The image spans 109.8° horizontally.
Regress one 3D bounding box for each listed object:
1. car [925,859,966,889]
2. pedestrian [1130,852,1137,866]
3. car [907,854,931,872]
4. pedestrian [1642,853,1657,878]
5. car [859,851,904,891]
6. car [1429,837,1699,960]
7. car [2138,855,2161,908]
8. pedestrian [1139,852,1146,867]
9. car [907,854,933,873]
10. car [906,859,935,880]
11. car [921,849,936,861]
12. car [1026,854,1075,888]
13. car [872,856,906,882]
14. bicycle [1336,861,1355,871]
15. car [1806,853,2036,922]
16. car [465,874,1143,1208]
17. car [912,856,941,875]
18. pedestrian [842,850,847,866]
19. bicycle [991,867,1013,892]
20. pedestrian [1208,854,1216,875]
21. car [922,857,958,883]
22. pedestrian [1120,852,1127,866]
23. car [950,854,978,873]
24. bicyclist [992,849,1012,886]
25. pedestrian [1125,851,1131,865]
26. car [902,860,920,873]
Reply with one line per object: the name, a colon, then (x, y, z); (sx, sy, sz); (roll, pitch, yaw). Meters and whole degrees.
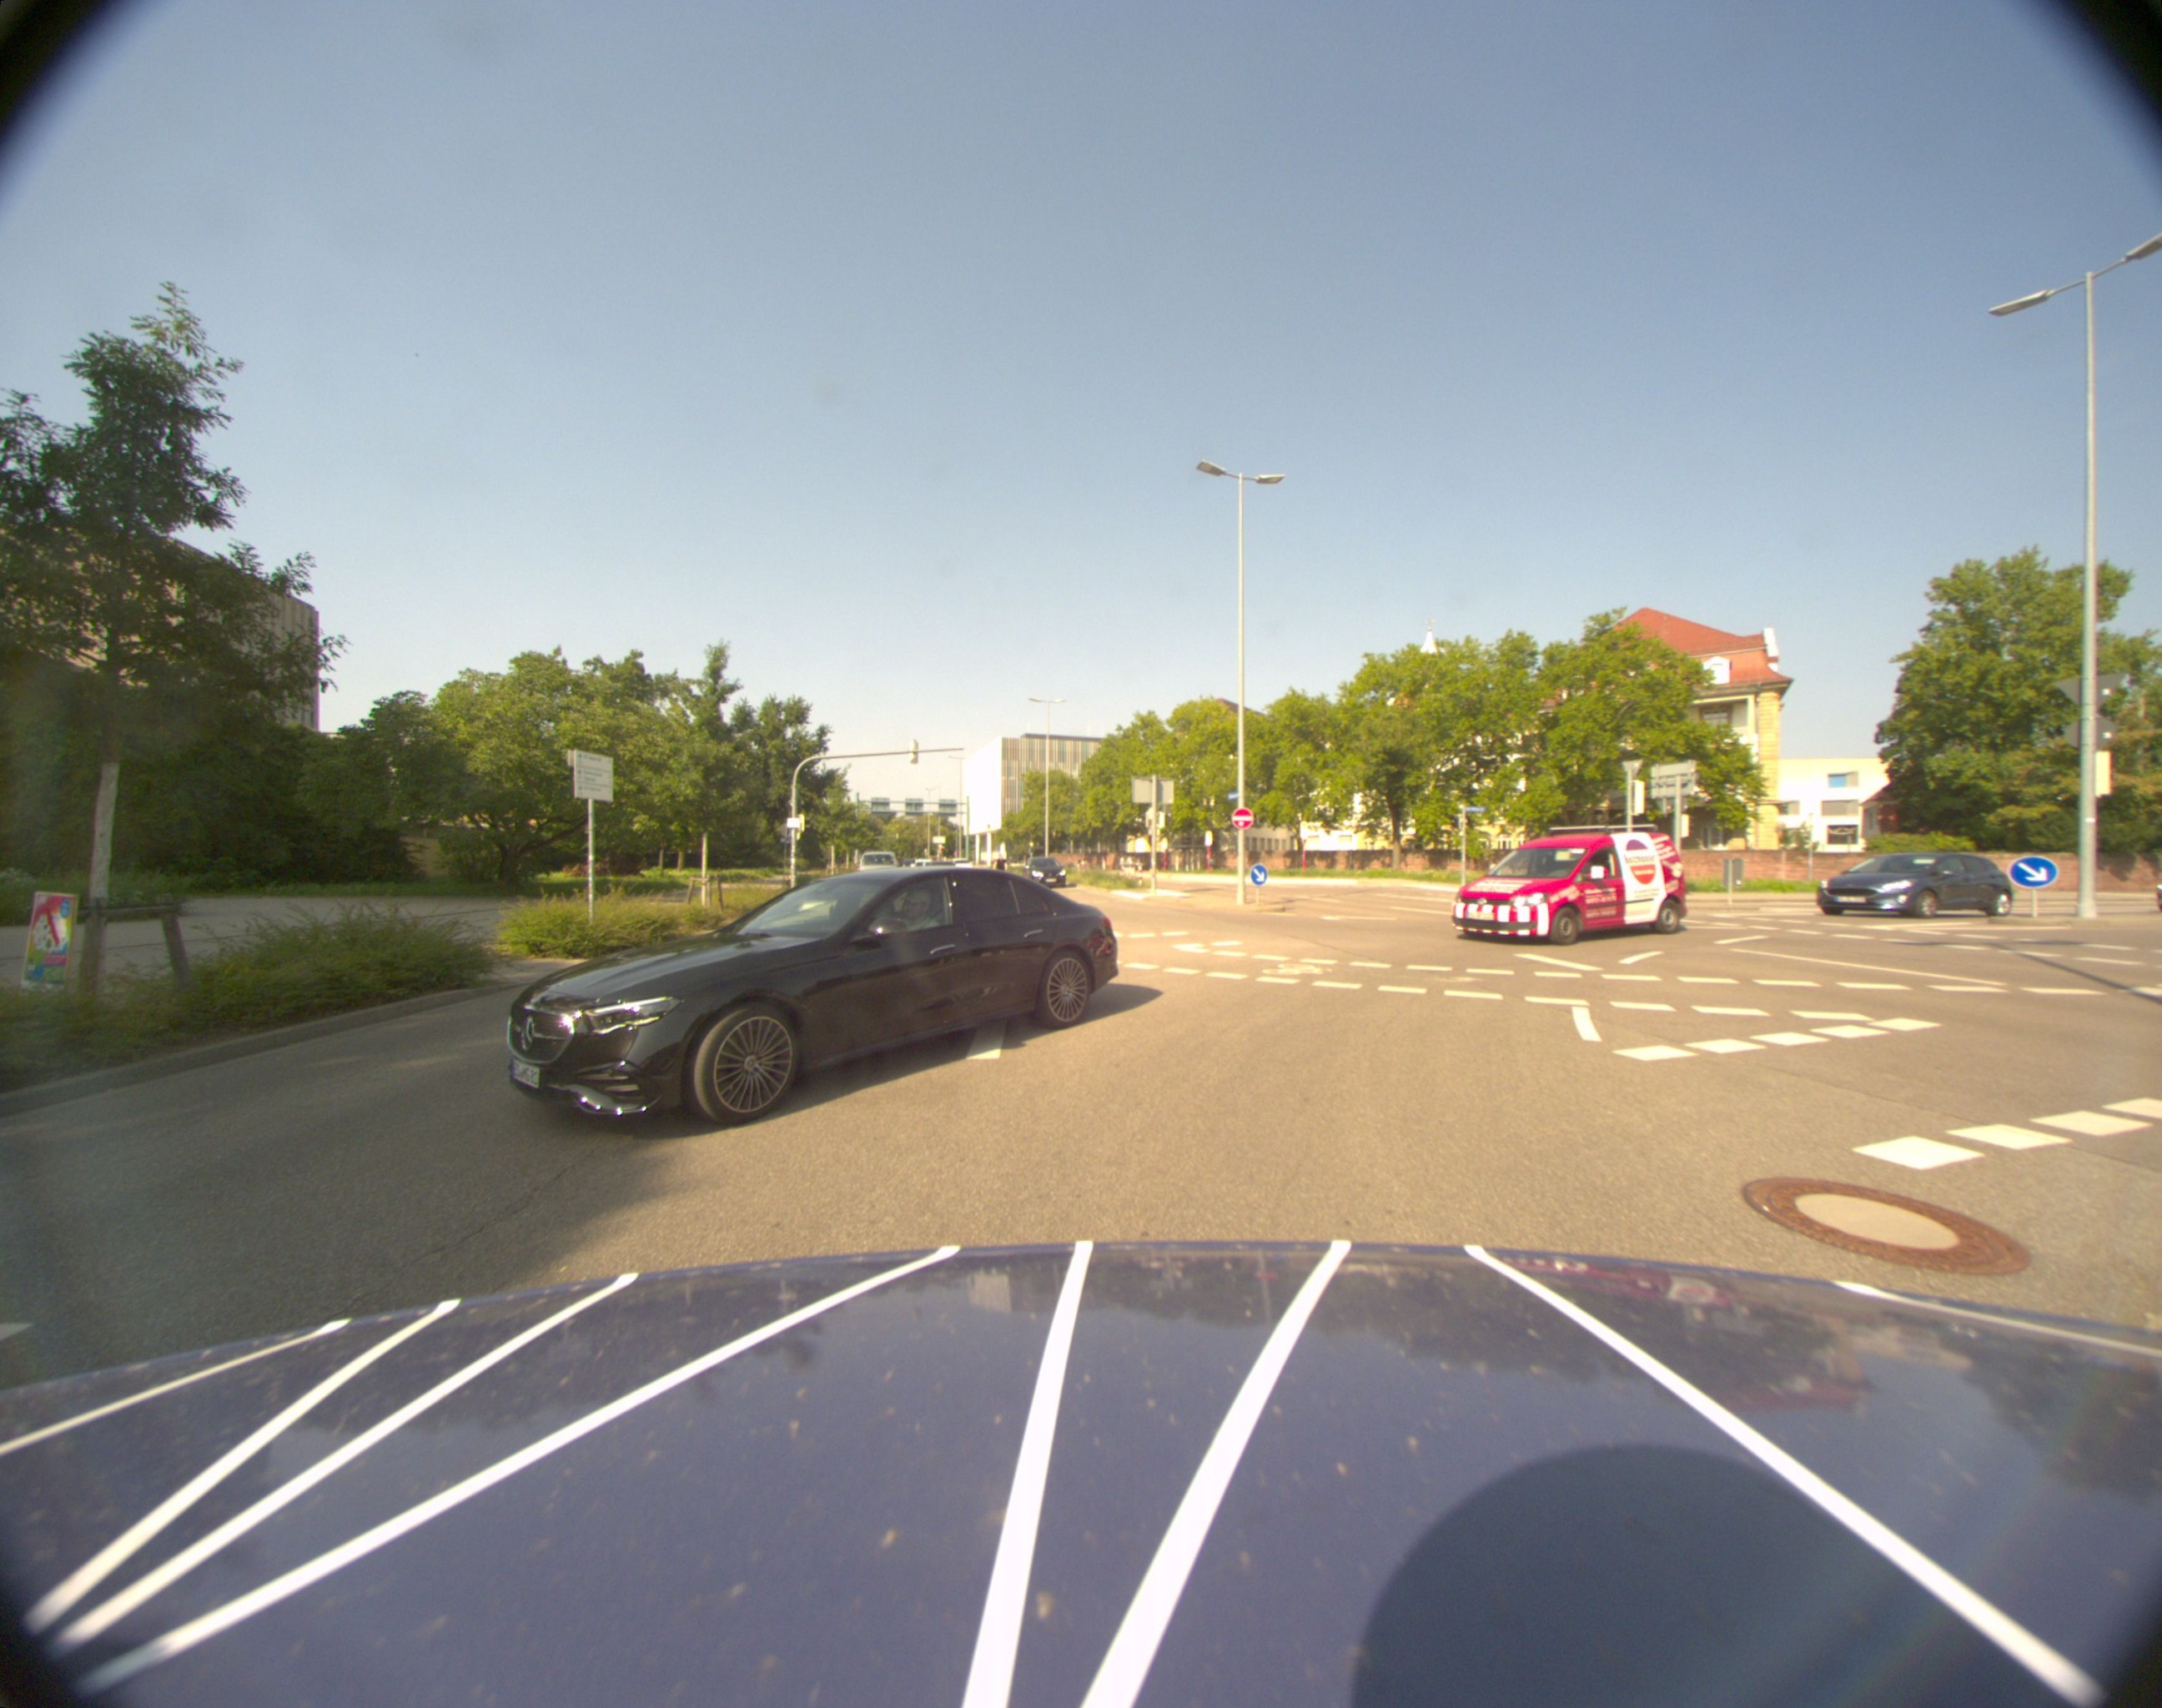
car: (-6.814, 0.952, 38.140); (1.912, 1.392, 4.915); (0, 0, -11)
pedestrian: (5.921, 0.568, 86.073); (0.521, 1.641, 0.593); (1, -2, -34)
car: (-15.787, 0.841, 73.960); (1.934, 1.650, 4.288); (0, 0, -17)
pedestrian: (38.629, 0.781, 51.627); (0.716, 1.673, 0.596); (1, 1, 42)
car: (-9.856, 0.797, 37.854); (1.847, 1.864, 4.968); (0, 0, -11)
car: (8.256, 0.646, 12.974); (4.282, 1.808, 1.734); (-1, 1, -22)
car: (30.778, 0.739, 20.385); (3.863, 1.425, 1.718); (0, 0, -18)
pedestrian: (6.986, 0.651, 86.778); (0.484, 1.641, 0.593); (1, -2, -34)
car: (-14.535, 0.808, 68.427); (1.934, 1.650, 4.288); (0, 0, -17)
car: (-11.790, 1.094, 55.812); (2.001, 1.497, 4.430); (0, 0, -12)
car: (-28.035, 0.252, 139.659); (1.922, 2.001, 3.993); (1, -2, -24)
car: (-1.617, 0.789, 38.398); (1.854, 1.569, 4.710); (-1, 0, -10)
car: (-11.607, 0.851, 46.097); (1.811, 1.497, 3.964); (0, 0, -11)
bicycle: (23.327, 1.076, 66.961); (0.435, 0.830, 1.545); (0, 0, -42)
car: (18.755, 0.723, 16.999); (4.324, 1.418, 1.639); (0, -1, -15)
car: (-1.626, 0.969, 6.132); (1.821, 1.431, 4.884); (-1, 0, 38)
car: (-12.773, 0.892, 62.608); (1.934, 1.497, 4.288); (0, 0, -17)
pedestrian: (-28.570, 0.473, 91.735); (0.624, 1.835, 0.640); (0, 1, -15)
bicycle: (-3.552, 1.122, 34.031); (0.770, 1.046, 1.773); (1, 0, -13)
pedestrian: (13.404, 1.108, 77.683); (0.521, 2.092, 0.593); (1, -2, -34)
car: (-8.436, 0.917, 45.415); (2.000, 1.497, 4.431); (0, 0, -11)
pedestrian: (4.971, 0.565, 88.584); (0.536, 1.561, 0.501); (1, -2, -36)
car: (-10.743, 0.874, 69.800); (1.934, 1.650, 4.288); (0, 0, -17)
bicyclist: (-3.541, 0.608, 34.005); (0.749, 1.626, 0.874); (0, 0, -13)
pedestrian: (5.528, 0.502, 89.031); (0.484, 1.641, 0.593); (1, -2, -34)
car: (-22.221, 1.622, 98.973); (1.934, 1.650, 4.288); (0, 0, -17)
